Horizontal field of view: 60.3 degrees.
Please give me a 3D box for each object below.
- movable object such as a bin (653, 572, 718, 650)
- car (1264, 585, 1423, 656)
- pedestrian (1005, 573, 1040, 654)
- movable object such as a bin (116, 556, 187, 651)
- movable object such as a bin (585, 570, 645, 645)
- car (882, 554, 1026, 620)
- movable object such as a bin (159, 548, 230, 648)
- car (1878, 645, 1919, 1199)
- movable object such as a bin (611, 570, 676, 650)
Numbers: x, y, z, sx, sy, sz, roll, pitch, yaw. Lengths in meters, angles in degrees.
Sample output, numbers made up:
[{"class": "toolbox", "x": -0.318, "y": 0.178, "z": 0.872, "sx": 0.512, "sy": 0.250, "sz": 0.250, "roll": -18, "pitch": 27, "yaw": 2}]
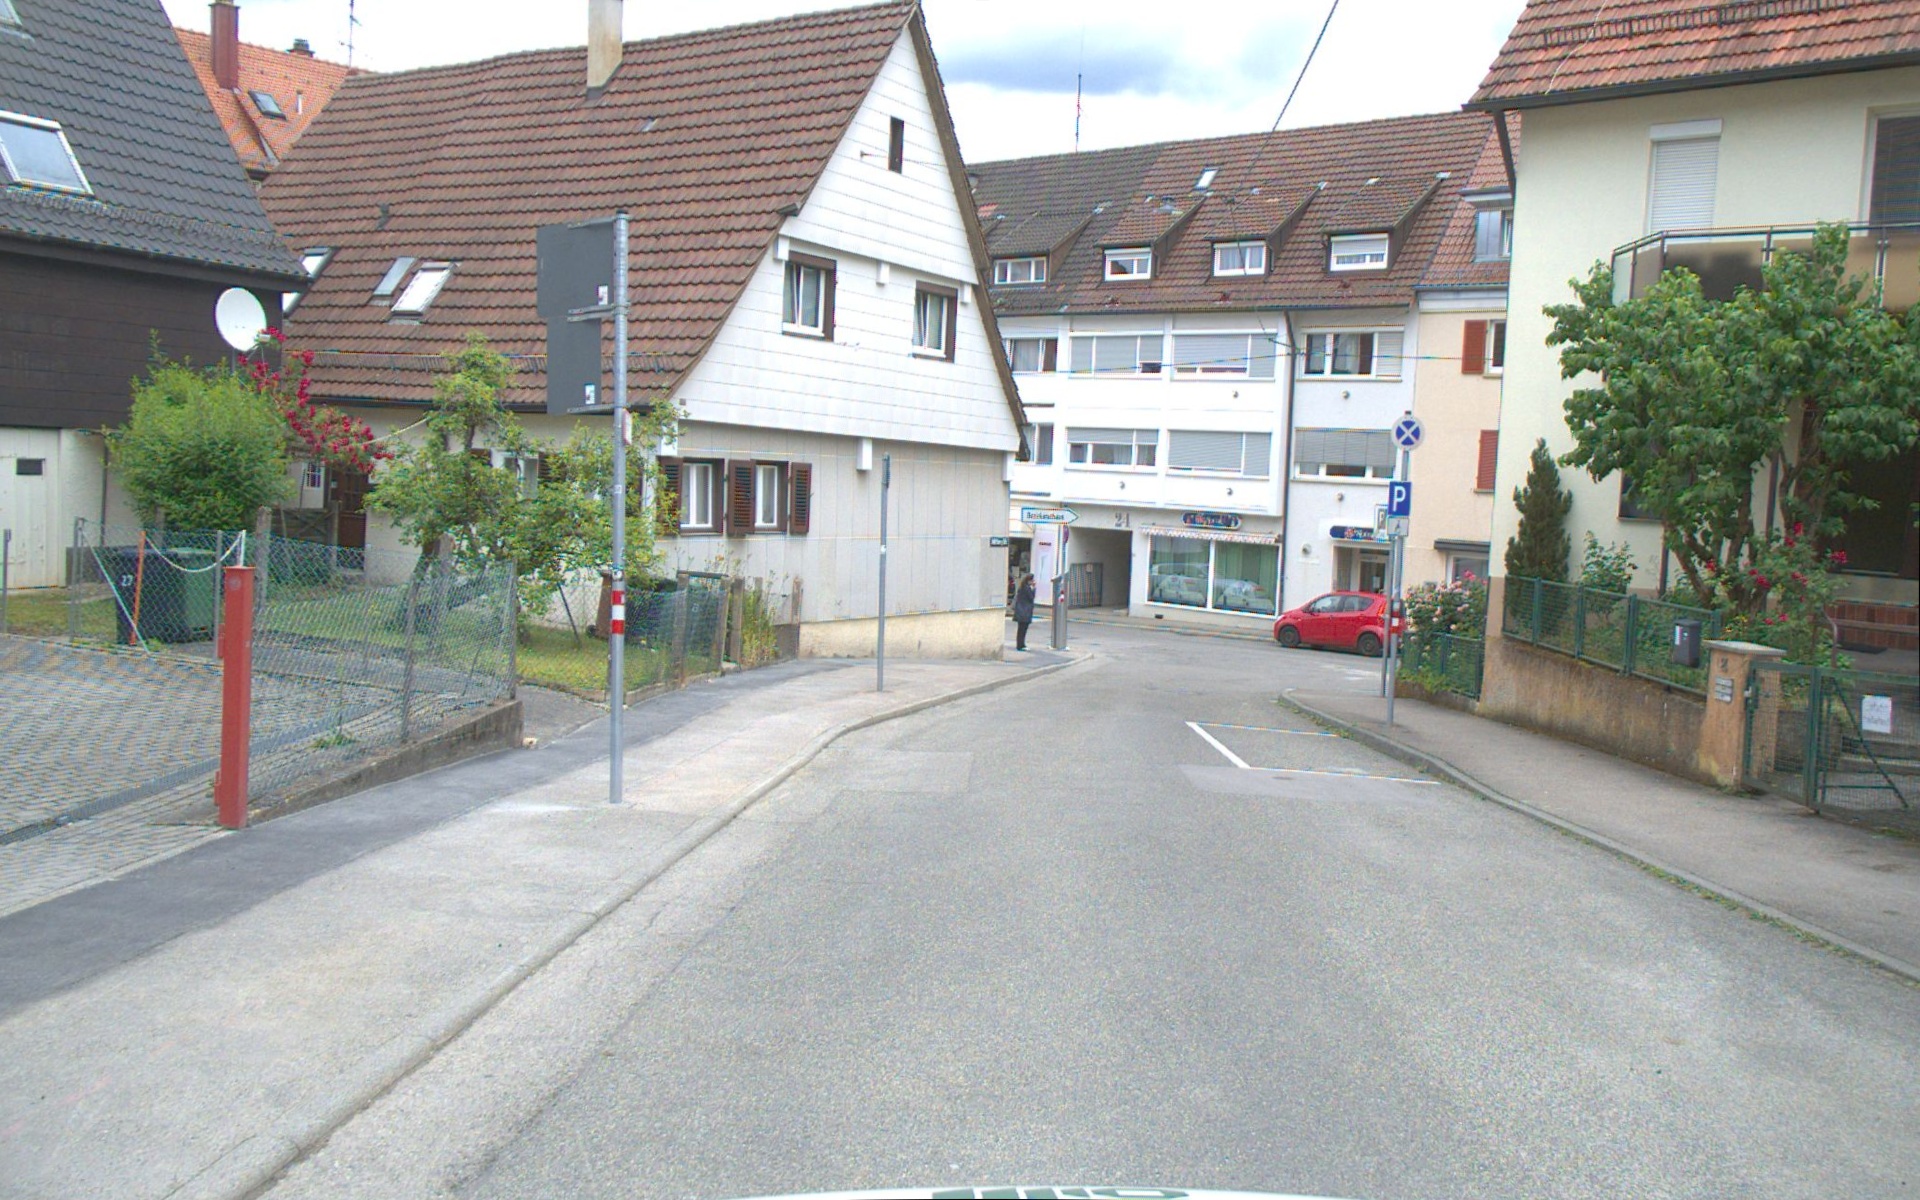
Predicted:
[{"class": "movable object such as a bin", "x": -3.447, "y": 0.135, "z": 20.791, "sx": 0.517, "sy": 0.899, "sz": 0.489, "roll": 7, "pitch": 0, "yaw": 31}, {"class": "car", "x": 10.002, "y": 0.513, "z": 43.247, "sx": 3.632, "sy": 1.583, "sz": 1.686, "roll": 5, "pitch": 2, "yaw": 43}, {"class": "pedestrian", "x": 1.375, "y": 0.287, "z": 36.406, "sx": 0.633, "sy": 1.714, "sz": 0.605, "roll": 3, "pitch": 2, "yaw": 7}, {"class": "movable object such as a bin", "x": -8.008, "y": 0.031, "z": 16.396, "sx": 0.368, "sy": 0.909, "sz": 0.490, "roll": 2, "pitch": 0, "yaw": 18}, {"class": "movable object such as a bin", "x": -4.436, "y": 0.098, "z": 21.253, "sx": 0.486, "sy": 0.892, "sz": 0.452, "roll": 7, "pitch": 0, "yaw": 32}, {"class": "car", "x": -0.218, "y": -0.420, "z": 51.813, "sx": 4.291, "sy": 1.810, "sz": 1.936, "roll": 4, "pitch": 3, "yaw": 42}, {"class": "movable object such as a bin", "x": -7.828, "y": -0.018, "z": 16.920, "sx": 0.390, "sy": 0.998, "sz": 0.508, "roll": 2, "pitch": 0, "yaw": 18}, {"class": "car", "x": 3.145, "y": 0.916, "z": 1.851, "sx": 1.758, "sy": 1.470, "sz": 4.297, "roll": 4, "pitch": 0, "yaw": -1}, {"class": "movable object such as a bin", "x": -4.003, "y": 0.133, "z": 20.927, "sx": 0.517, "sy": 0.932, "sz": 0.489, "roll": 7, "pitch": 0, "yaw": 31}]
